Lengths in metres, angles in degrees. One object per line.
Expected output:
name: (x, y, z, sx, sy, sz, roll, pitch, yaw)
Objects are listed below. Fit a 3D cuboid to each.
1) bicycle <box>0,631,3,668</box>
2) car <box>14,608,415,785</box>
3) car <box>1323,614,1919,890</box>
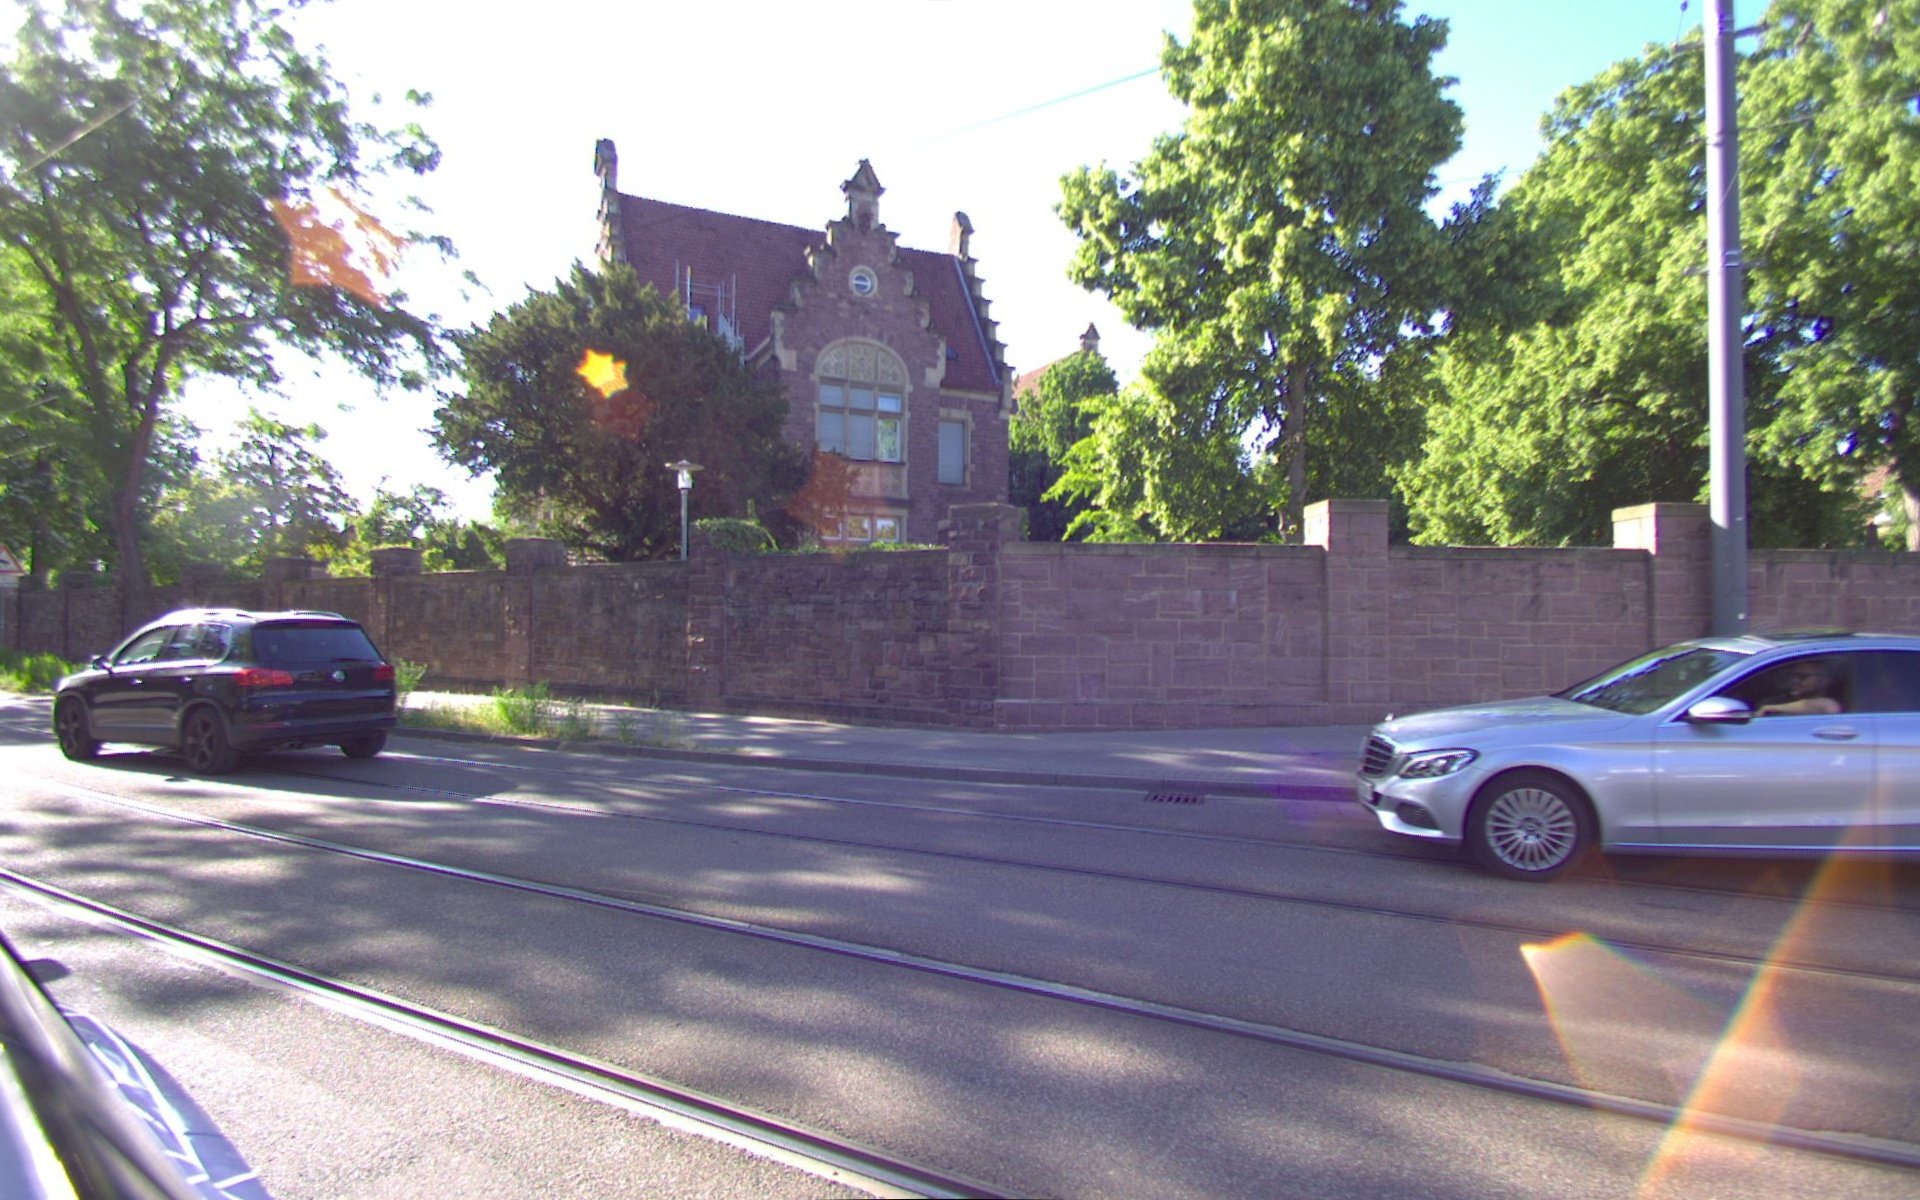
bicycle: (-31.898, 1.603, 32.956, 2.084, 1.200, 0.725, -1, -1, 37)
car: (-8.205, 0.950, 11.130, 4.095, 1.650, 1.786, -1, -2, 25)
car: (4.885, 0.841, 6.429, 4.575, 1.426, 1.883, -1, 0, 11)
